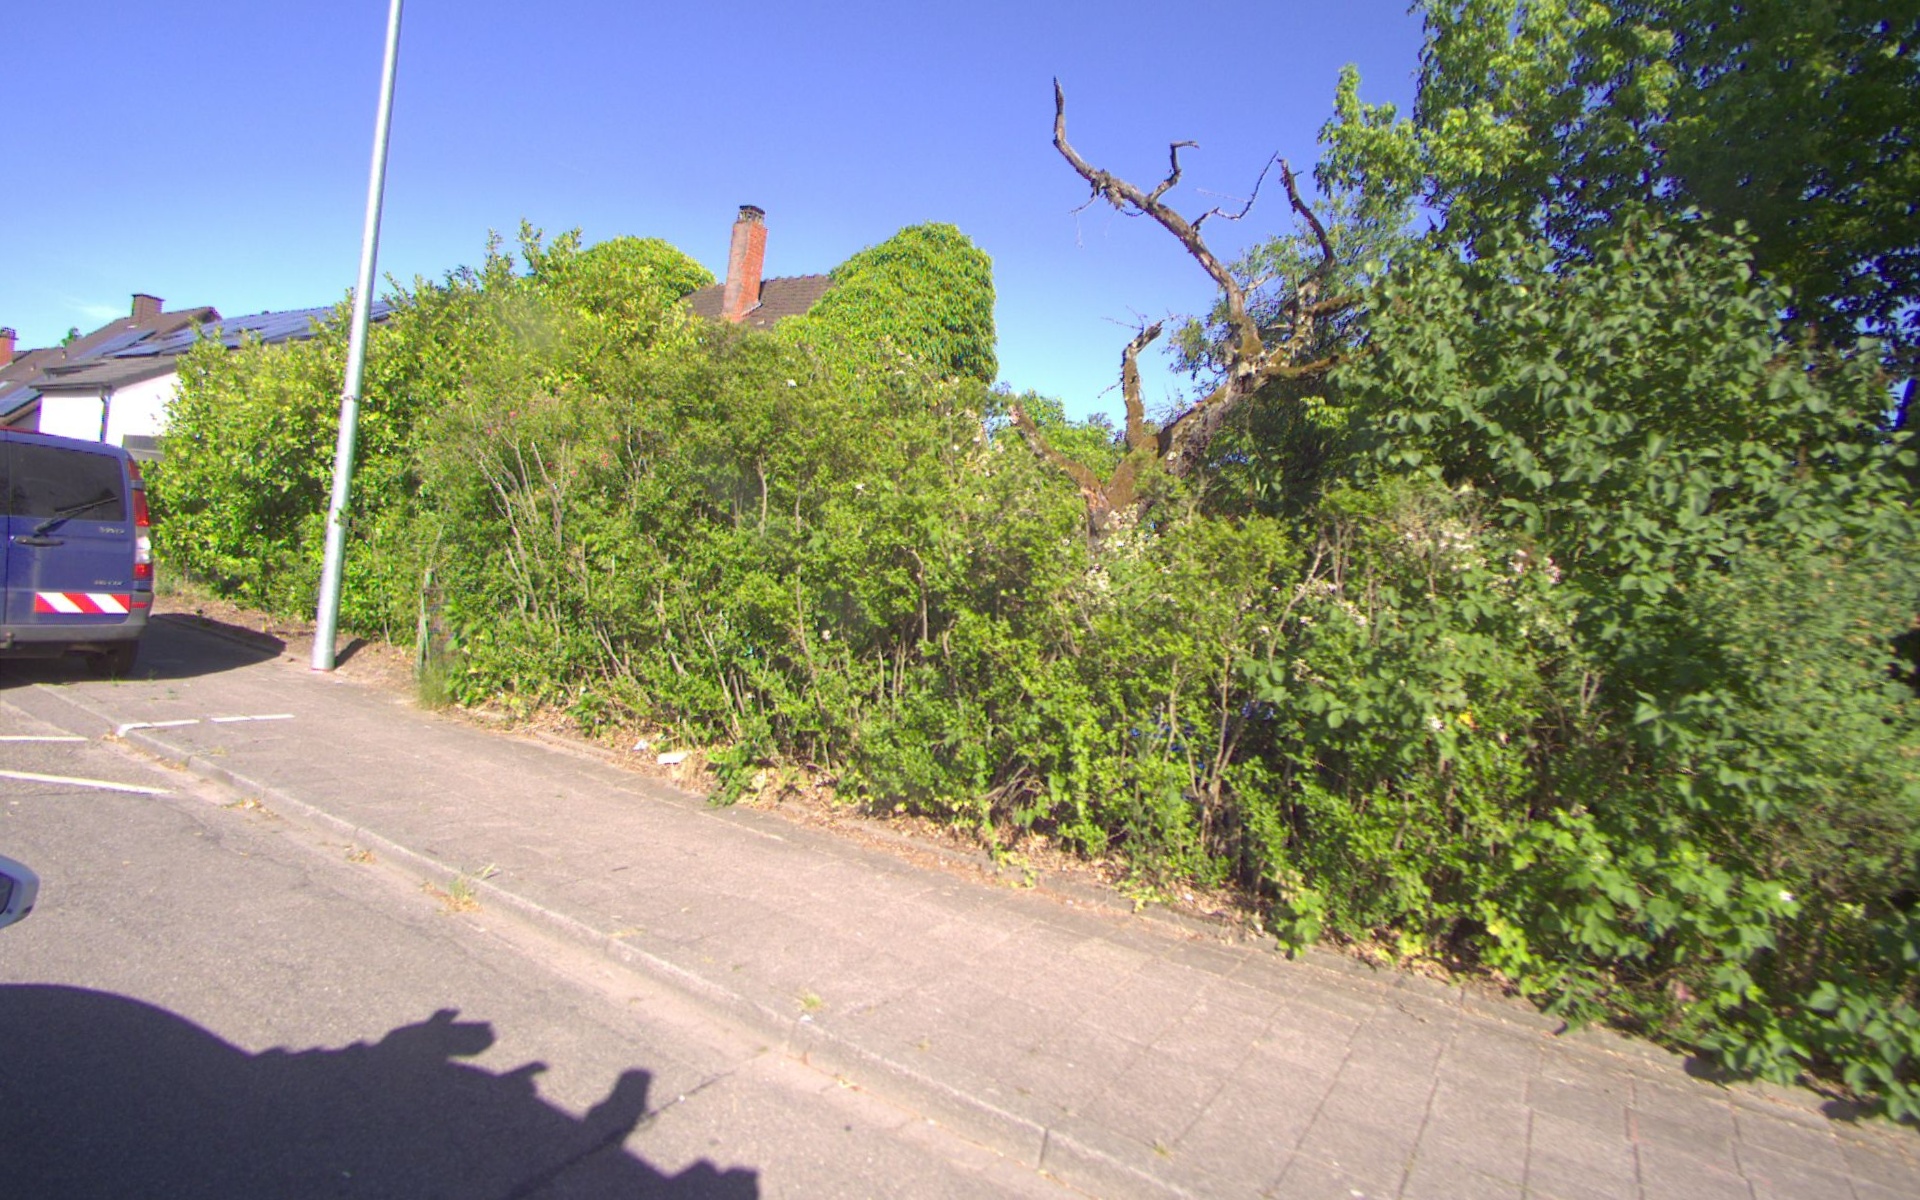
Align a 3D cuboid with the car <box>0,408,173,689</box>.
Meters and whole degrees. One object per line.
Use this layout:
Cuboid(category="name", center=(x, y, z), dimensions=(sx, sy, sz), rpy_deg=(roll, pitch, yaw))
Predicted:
Cuboid(category="car", center=(-8.671, -0.582, 8.316), dimensions=(4.621, 1.929, 1.840), rpy_deg=(7, -2, 33))
